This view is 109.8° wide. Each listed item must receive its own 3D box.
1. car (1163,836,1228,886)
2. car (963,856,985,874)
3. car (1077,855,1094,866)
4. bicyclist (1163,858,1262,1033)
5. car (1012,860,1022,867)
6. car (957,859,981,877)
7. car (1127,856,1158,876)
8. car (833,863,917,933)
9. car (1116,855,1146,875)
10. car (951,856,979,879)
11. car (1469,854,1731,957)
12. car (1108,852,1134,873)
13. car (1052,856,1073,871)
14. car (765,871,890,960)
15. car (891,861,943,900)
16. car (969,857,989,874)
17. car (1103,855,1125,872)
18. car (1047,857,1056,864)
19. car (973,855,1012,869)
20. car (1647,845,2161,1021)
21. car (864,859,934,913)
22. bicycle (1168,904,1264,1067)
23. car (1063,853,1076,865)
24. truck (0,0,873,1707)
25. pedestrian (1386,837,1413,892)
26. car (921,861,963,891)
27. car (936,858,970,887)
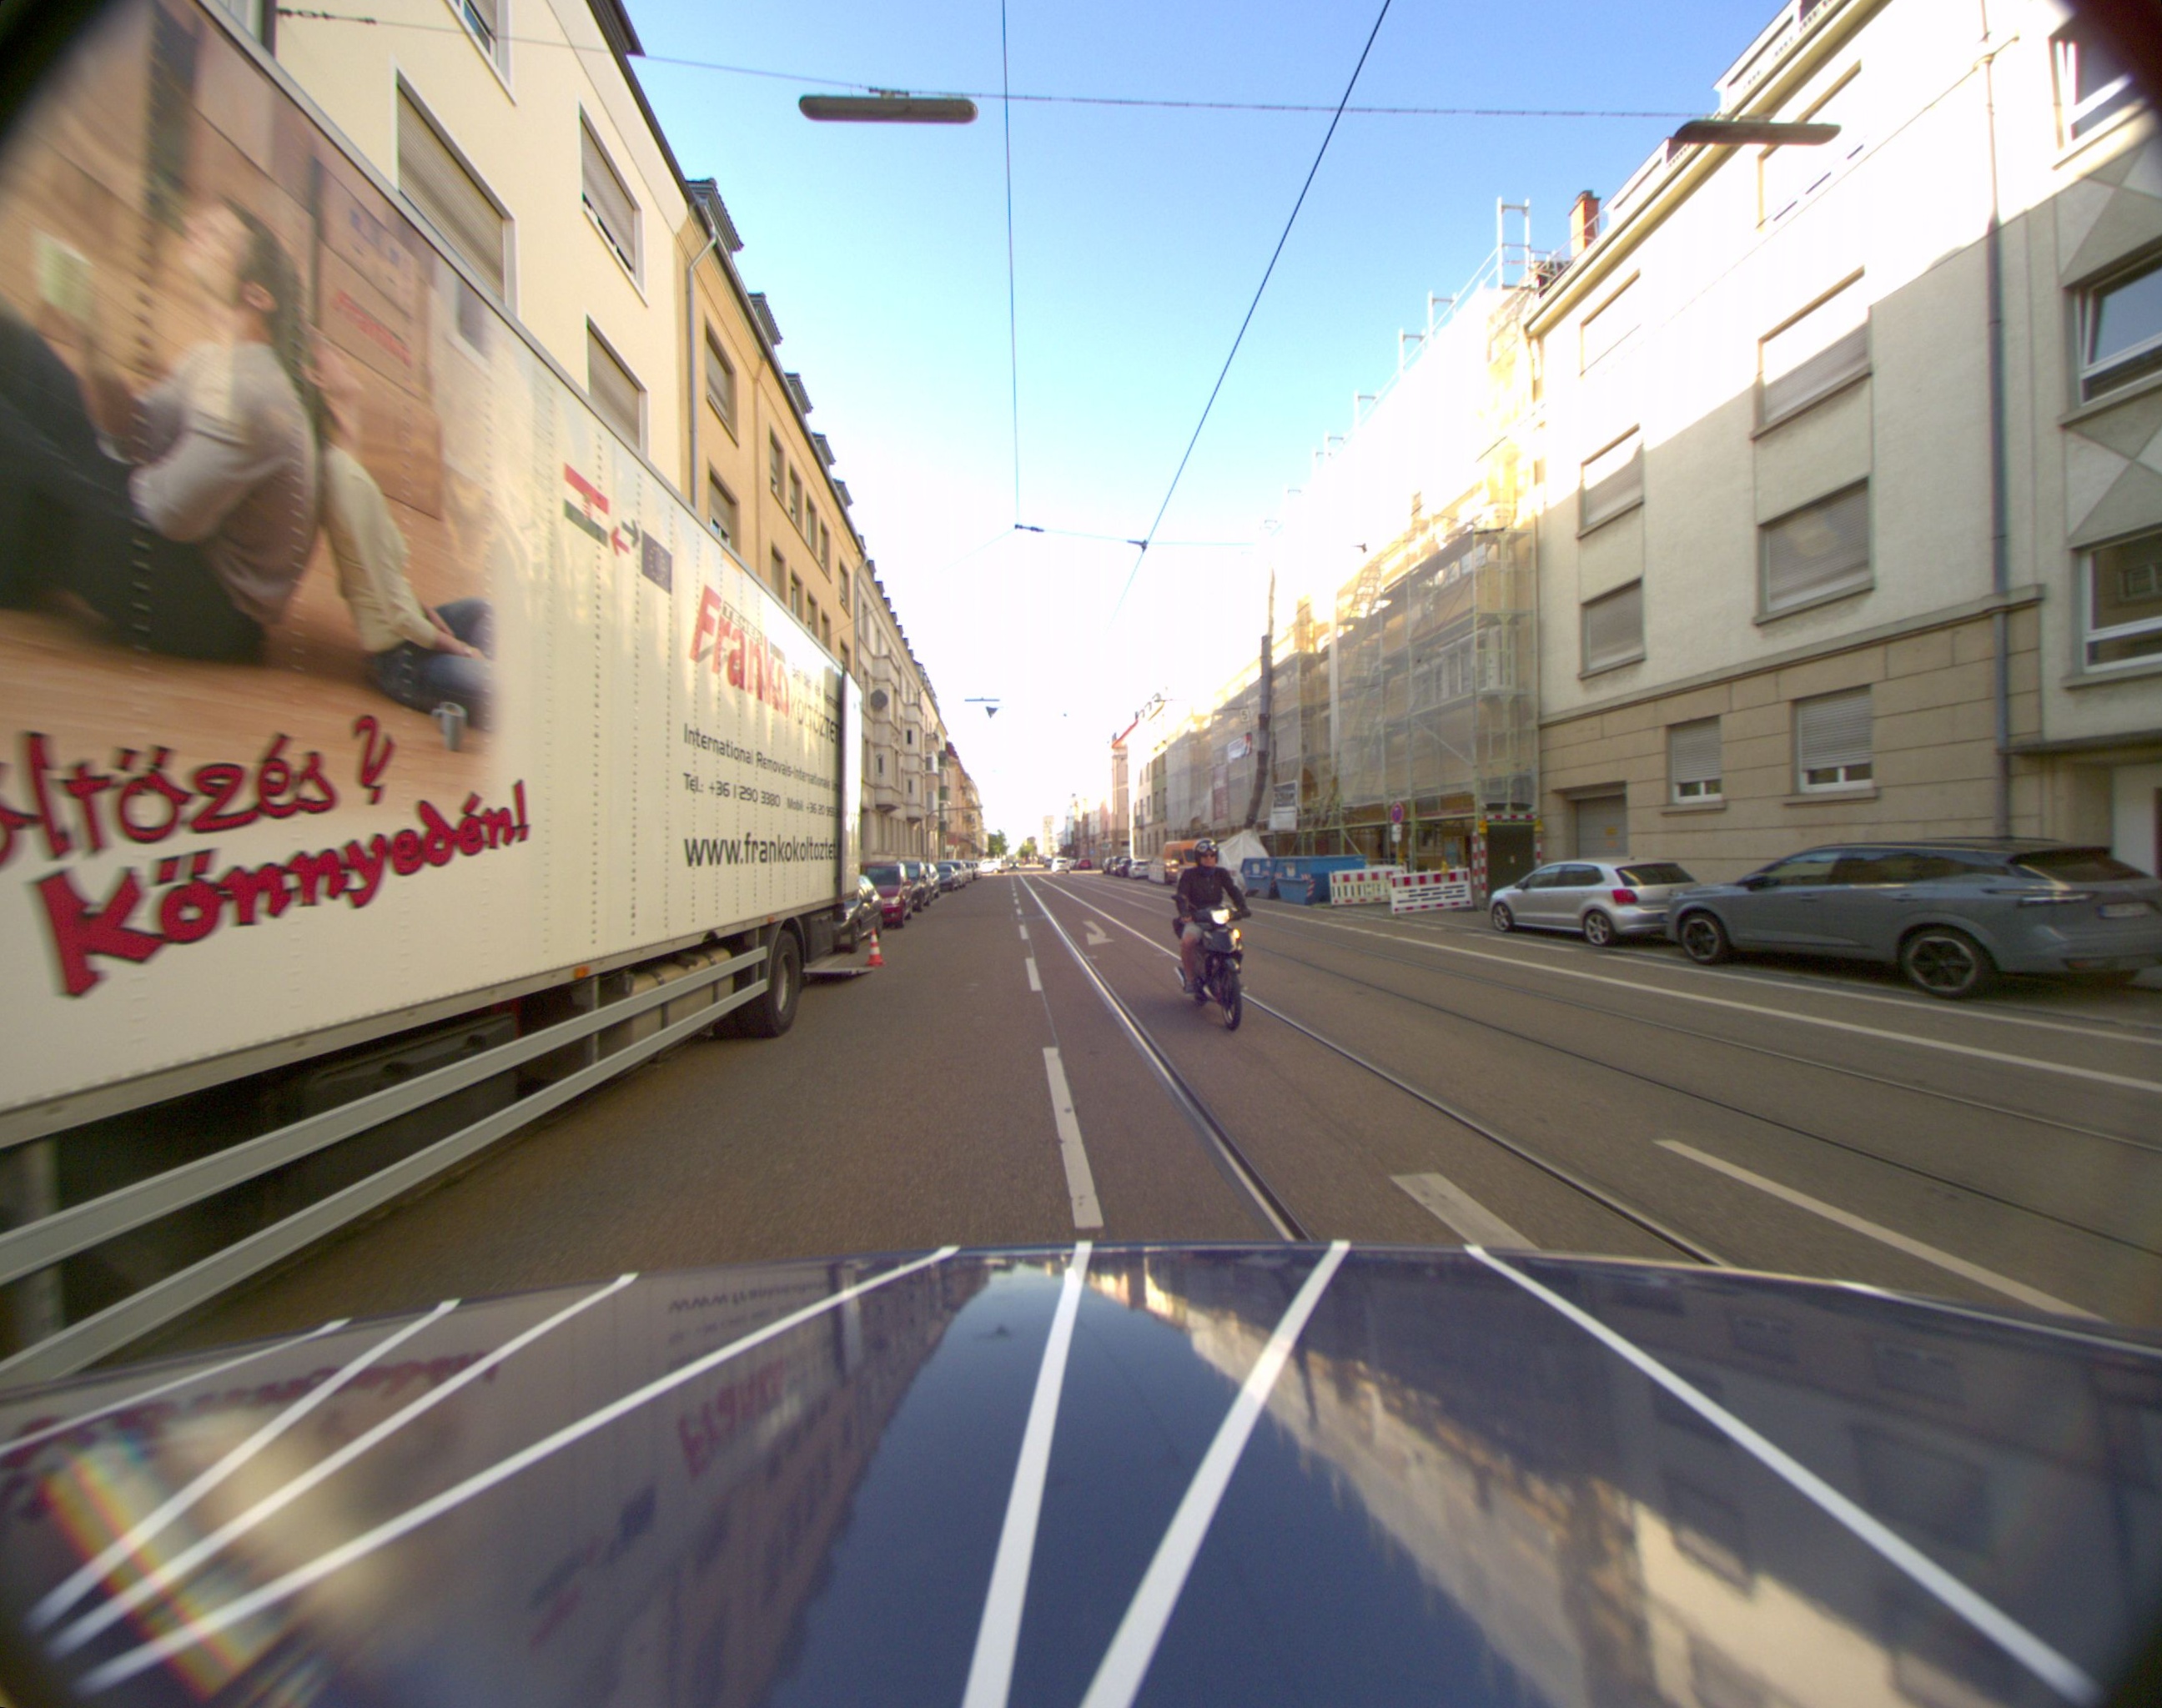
[{"bbox_3d":[6.024,0.365,40.879,2.126,2.454,5.997,0,0,-5],"label":"car"},{"bbox_3d":[-9.706,0.988,69.191,1.704,1.581,3.959,-1,0,-5],"label":"car"},{"bbox_3d":[0.627,0.890,105.690,1.799,1.494,3.767,-3,0,-6],"label":"car"},{"bbox_3d":[1.238,0.815,7.198,0.843,1.545,0.850,-1,0,9],"label":"bicyclist"},{"bbox_3d":[-12.979,1.867,155.429,1.860,1.369,3.999,-1,0,-3],"label":"car"},{"bbox_3d":[-9.387,1.159,64.083,1.704,1.496,3.861,-1,0,-4],"label":"car"},{"bbox_3d":[4.691,0.890,58.661,1.752,1.502,3.998,0,0,-5],"label":"car"},{"bbox_3d":[-5.299,1.053,20.001,1.597,1.599,4.244,0,0,-8],"label":"car"},{"bbox_3d":[4.210,0.900,64.663,1.703,1.569,4.221,-3,0,-6],"label":"car"},{"bbox_3d":[-8.875,1.017,58.440,1.703,1.688,4.186,0,0,-3],"label":"car"},{"bbox_3d":[9.040,0.790,13.712,1.704,1.407,3.998,-4,1,-5],"label":"car"},{"bbox_3d":[3.693,0.757,70.599,1.799,1.836,3.767,-3,0,-6],"label":"car"},{"bbox_3d":[-2.119,0.994,85.369,1.826,1.559,4.198,-3,0,-7],"label":"car"},{"bbox_3d":[-4.910,1.115,15.211,1.587,1.455,3.878,0,0,-6],"label":"car"},{"bbox_3d":[-6.604,1.038,30.878,1.613,1.454,3.478,0,0,-4],"label":"car"},{"bbox_3d":[-10.152,1.122,75.982,1.704,1.581,3.353,2,0,-4],"label":"car"},{"bbox_3d":[3.270,0.889,75.581,1.799,1.601,3.768,-1,0,-2],"label":"car"},{"bbox_3d":[-6.937,1.596,178.765,1.799,1.494,3.767,-3,0,-6],"label":"car"},{"bbox_3d":[-10.486,0.944,89.895,4.282,1.598,1.776,0,0,28],"label":"car"},{"bbox_3d":[9.423,0.718,9.140,1.704,1.558,4.404,-1,0,-5],"label":"car"},{"bbox_3d":[-6.029,1.007,25.646,1.795,1.642,4.364,0,0,-7],"label":"car"},{"bbox_3d":[1.226,1.117,7.068,0.740,1.170,1.975,-1,0,9],"label":"bicycle"},{"bbox_3d":[-2.090,0.923,136.410,1.999,2.002,3.998,0,0,-5],"label":"car"},{"bbox_3d":[-3.855,-0.249,4.230,2.868,4.049,11.774,-1,0,-4],"label":"truck"},{"bbox_3d":[10.084,0.335,24.078,0.715,1.684,0.583,-2,1,22],"label":"pedestrian"},{"bbox_3d":[-7.301,1.126,40.191,1.704,1.443,4.204,0,0,-3],"label":"car"},{"bbox_3d":[-7.751,1.067,46.319,1.714,1.683,4.587,0,0,-5],"label":"car"}]
